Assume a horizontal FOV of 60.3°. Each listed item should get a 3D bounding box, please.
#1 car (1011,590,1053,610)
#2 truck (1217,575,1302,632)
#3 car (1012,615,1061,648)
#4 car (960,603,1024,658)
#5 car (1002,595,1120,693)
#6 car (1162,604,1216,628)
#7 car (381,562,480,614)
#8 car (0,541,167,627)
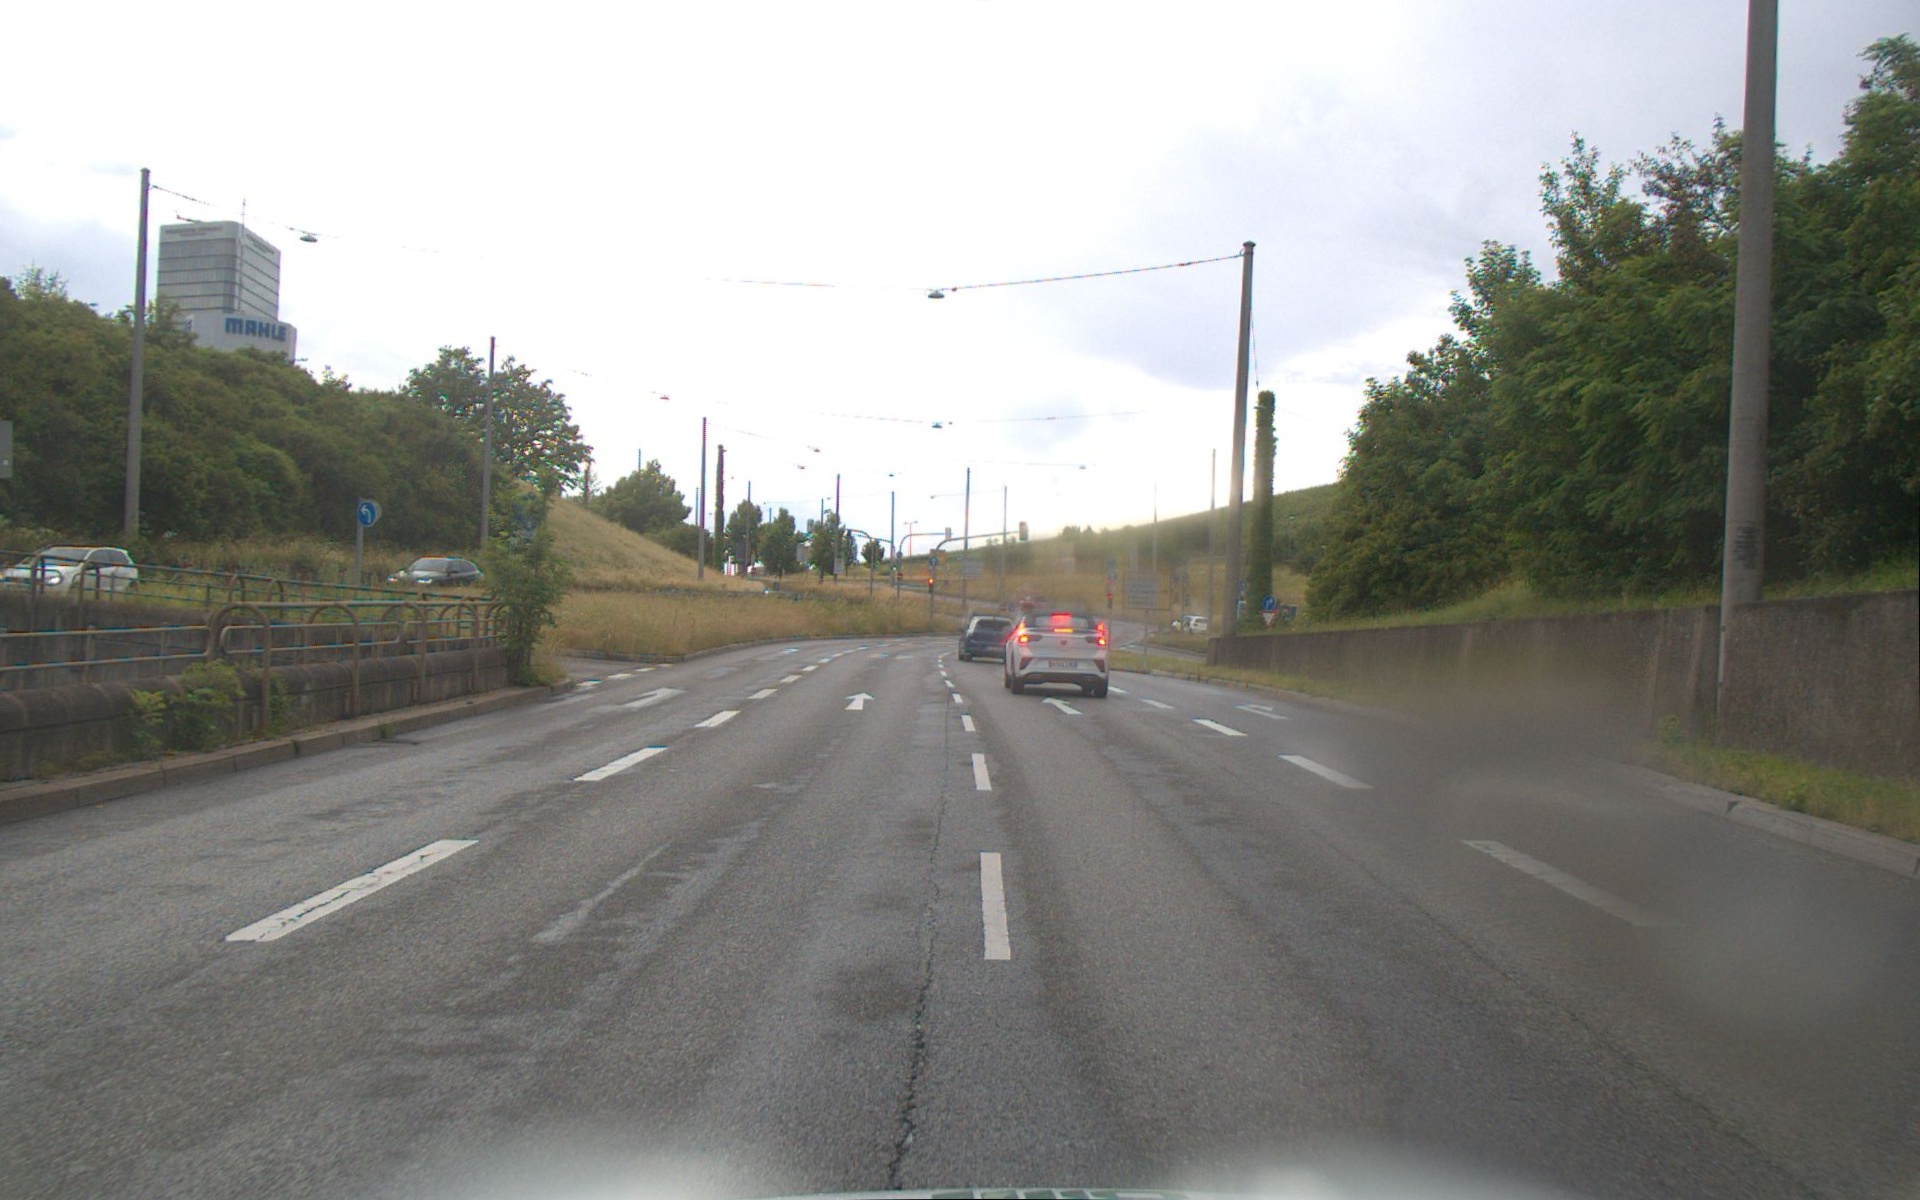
[{"bbox_3d":[6.665,-0.016,153.454,1.969,1.742,4.526,1,1,-25],"label":"car"},{"bbox_3d":[20.894,0.183,115.740,2.811,3.588,6.190,1,3,-24],"label":"truck"},{"bbox_3d":[3.930,1.607,84.296,1.737,1.545,3.727,4,0,14],"label":"car"},{"bbox_3d":[1.081,0.995,53.393,1.886,1.627,4.062,2,-1,3],"label":"car"},{"bbox_3d":[1.829,0.813,31.104,1.955,1.606,4.125,3,-1,1],"label":"car"},{"bbox_3d":[17.278,1.218,124.971,1.966,1.527,4.534,1,3,-22],"label":"car"},{"bbox_3d":[-18.946,-0.395,59.404,1.953,1.665,4.721,4,-1,0],"label":"car"},{"bbox_3d":[-20.791,-0.352,38.971,1.953,1.867,4.629,2,0,-1],"label":"car"}]
